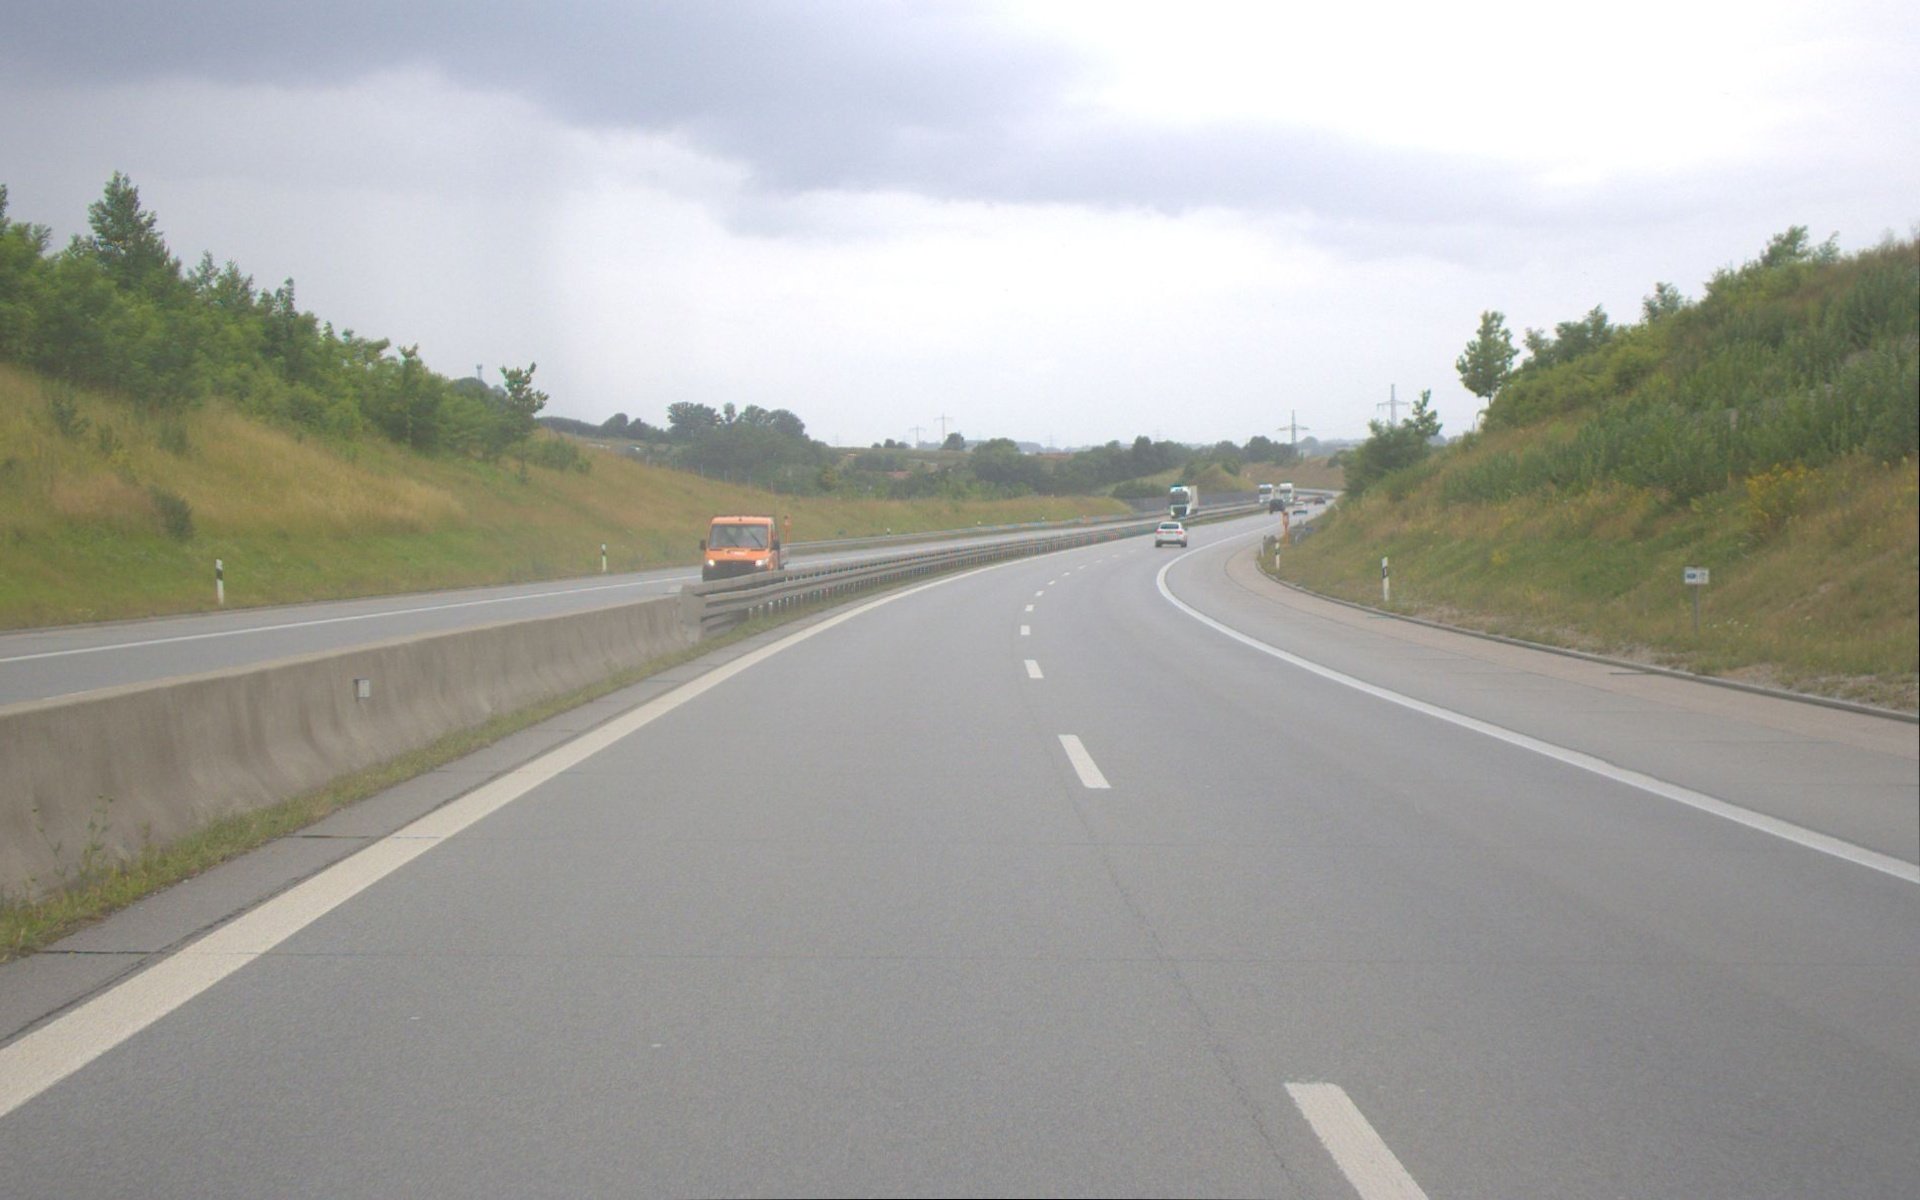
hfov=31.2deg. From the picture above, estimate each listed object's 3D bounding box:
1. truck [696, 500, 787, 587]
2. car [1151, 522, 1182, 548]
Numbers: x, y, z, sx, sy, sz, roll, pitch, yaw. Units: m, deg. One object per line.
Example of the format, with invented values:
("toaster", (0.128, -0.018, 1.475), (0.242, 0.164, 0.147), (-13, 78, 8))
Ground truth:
("truck", (-6.440, -1.687, 101.980), (2.190, 2.501, 6.554), (0, 1, 1))
("car", (13.189, -4.165, 219.876), (1.956, 1.645, 4.000), (0, 1, 3))
